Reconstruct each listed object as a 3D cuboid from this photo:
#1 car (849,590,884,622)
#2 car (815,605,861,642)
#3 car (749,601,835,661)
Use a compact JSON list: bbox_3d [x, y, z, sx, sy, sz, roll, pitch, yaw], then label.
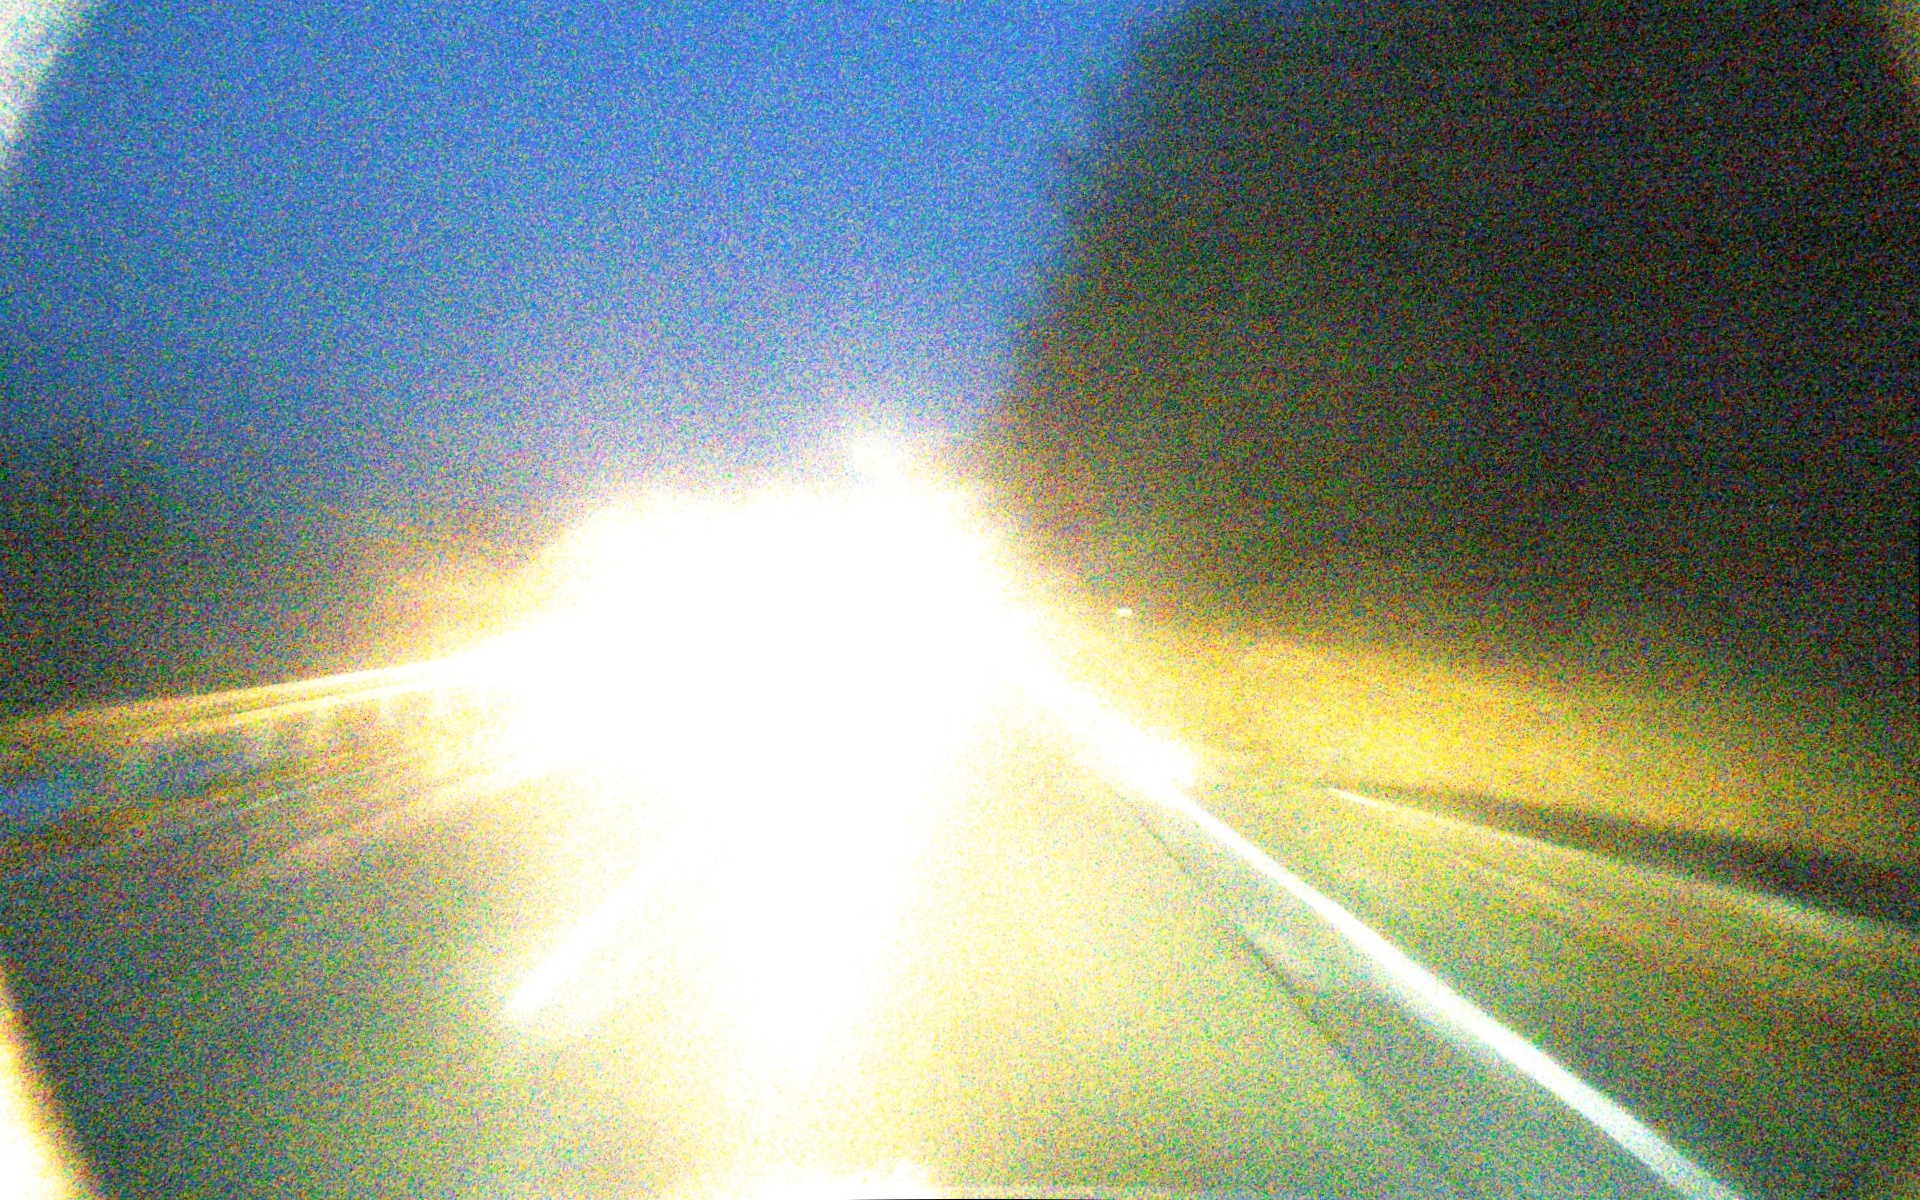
[{"bbox_3d":[-5.535,0.356,98.268,1.953,1.824,4.245,0,0,-1],"label":"car"},{"bbox_3d":[-5.205,1.003,70.902,1.806,1.506,4.247,0,0,-2],"label":"car"},{"bbox_3d":[-4.412,0.790,43.987,1.953,1.501,3.923,0,0,-1],"label":"car"}]
